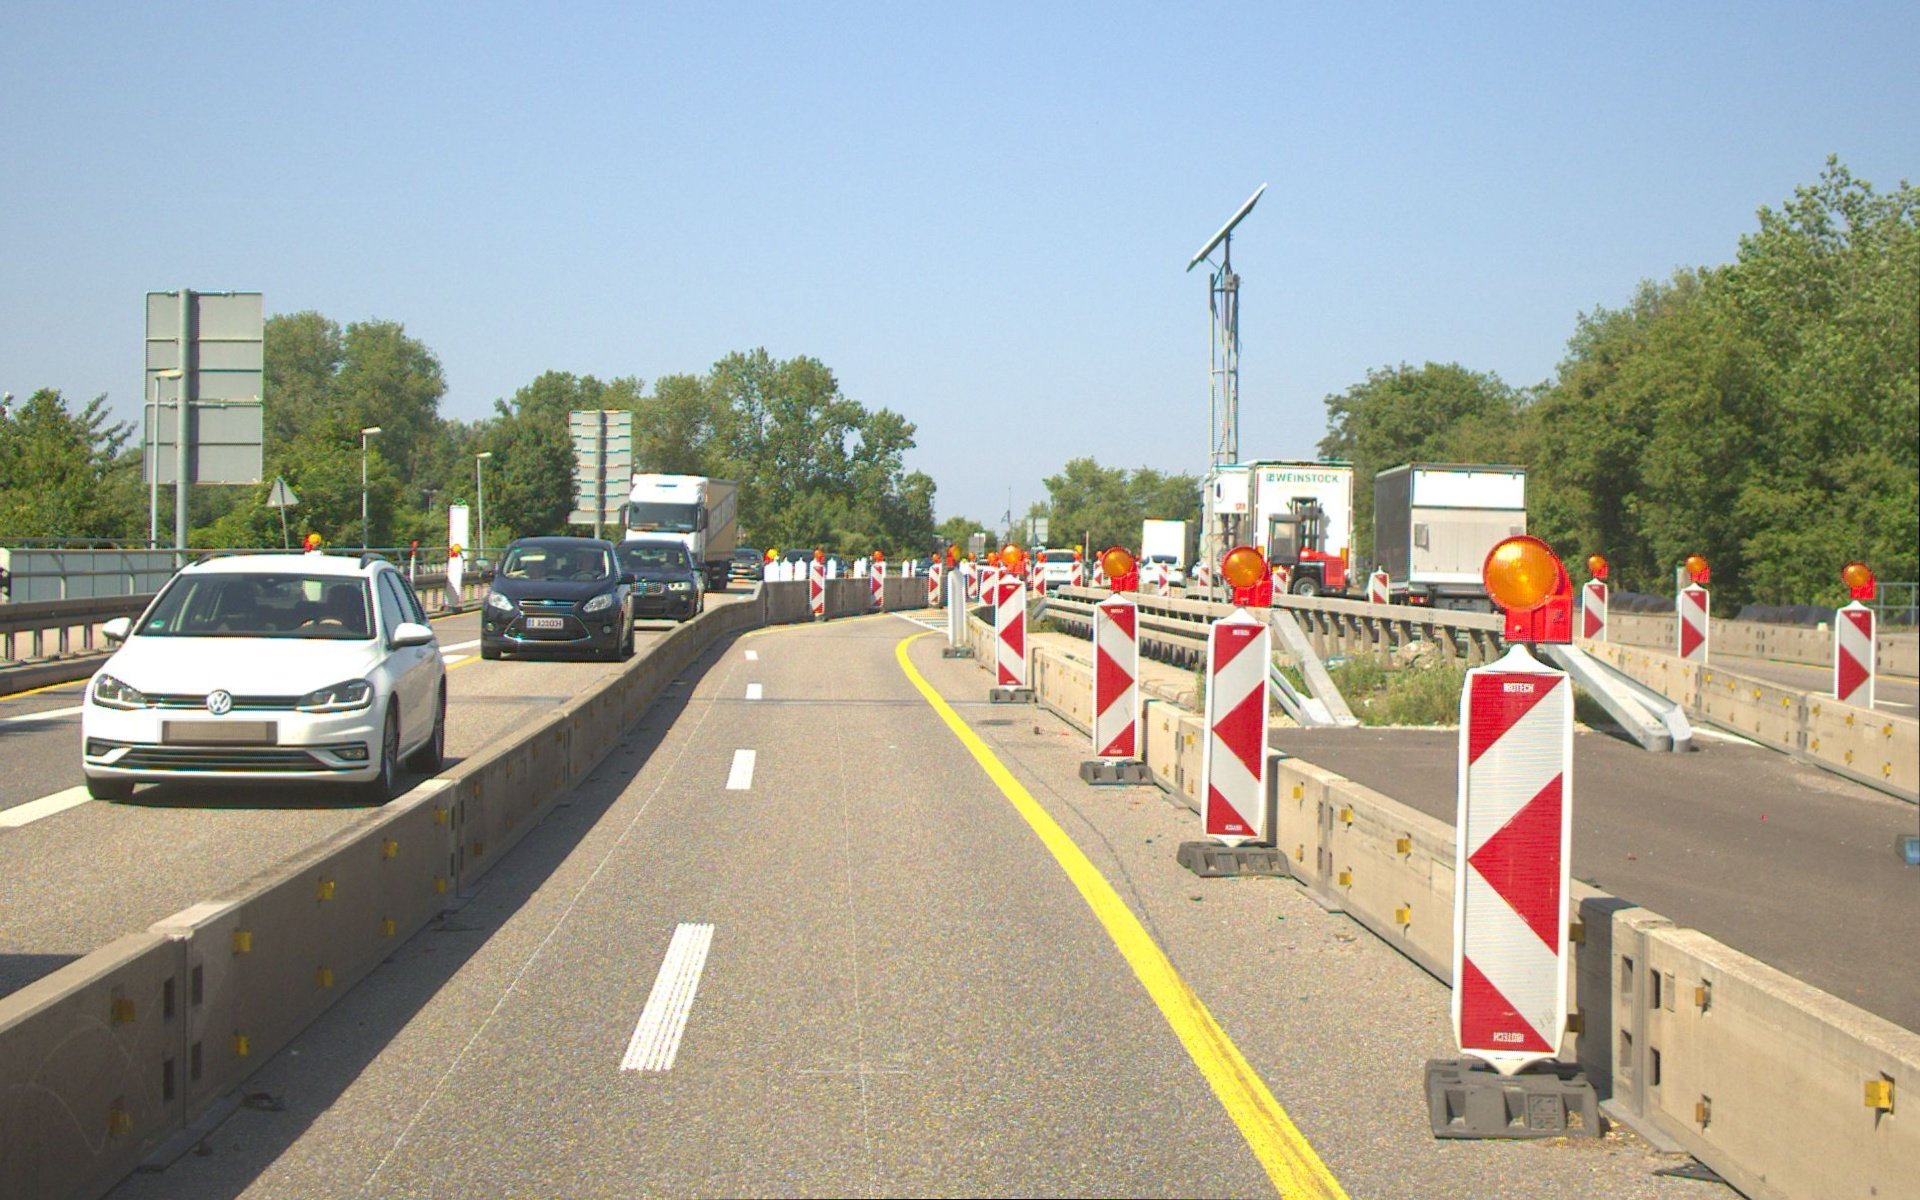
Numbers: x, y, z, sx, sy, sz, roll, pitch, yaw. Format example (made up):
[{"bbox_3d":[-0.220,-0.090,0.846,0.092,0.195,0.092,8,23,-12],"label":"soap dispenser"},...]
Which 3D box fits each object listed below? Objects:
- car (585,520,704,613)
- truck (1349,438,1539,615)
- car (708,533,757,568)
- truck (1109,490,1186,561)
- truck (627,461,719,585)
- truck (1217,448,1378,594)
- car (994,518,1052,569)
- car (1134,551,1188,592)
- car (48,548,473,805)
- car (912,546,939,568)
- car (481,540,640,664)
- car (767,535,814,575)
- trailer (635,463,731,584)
[{"bbox_3d":[-5.788,-0.646,63.465,1.863,1.626,4.566,1,1,-1],"label":"car"},{"bbox_3d":[9.836,-1.508,70.608,2.634,3.416,7.234,0,1,-2],"label":"truck"},{"bbox_3d":[-10.230,-2.242,154.675,1.932,1.503,4.469,1,1,0],"label":"car"},{"bbox_3d":[11.591,-4.574,213.138,4.220,4.252,10.241,0,1,0],"label":"truck"},{"bbox_3d":[-9.762,-2.592,117.486,2.749,4.122,6.416,0,1,-1],"label":"truck"},{"bbox_3d":[8.964,-2.075,92.147,3.388,3.761,7.234,0,1,-2],"label":"truck"},{"bbox_3d":[2.204,-1.986,121.116,1.816,1.770,4.000,0,1,-2],"label":"car"},{"bbox_3d":[8.770,-1.265,150.242,1.993,1.770,4.000,0,1,-2],"label":"car"},{"bbox_3d":[-4.232,0.398,21.424,1.814,1.412,4.153,1,1,0],"label":"car"},{"bbox_3d":[-2.356,-2.990,237.177,1.737,1.471,4.646,1,1,0],"label":"car"},{"bbox_3d":[-5.218,-0.009,45.329,1.738,1.546,3.943,1,1,-2],"label":"car"},{"bbox_3d":[-6.757,-1.807,137.495,1.790,1.563,3.873,1,1,-2],"label":"car"},{"bbox_3d":[-9.946,-2.714,124.562,2.761,4.122,14.533,0,1,-2],"label":"trailer"}]
